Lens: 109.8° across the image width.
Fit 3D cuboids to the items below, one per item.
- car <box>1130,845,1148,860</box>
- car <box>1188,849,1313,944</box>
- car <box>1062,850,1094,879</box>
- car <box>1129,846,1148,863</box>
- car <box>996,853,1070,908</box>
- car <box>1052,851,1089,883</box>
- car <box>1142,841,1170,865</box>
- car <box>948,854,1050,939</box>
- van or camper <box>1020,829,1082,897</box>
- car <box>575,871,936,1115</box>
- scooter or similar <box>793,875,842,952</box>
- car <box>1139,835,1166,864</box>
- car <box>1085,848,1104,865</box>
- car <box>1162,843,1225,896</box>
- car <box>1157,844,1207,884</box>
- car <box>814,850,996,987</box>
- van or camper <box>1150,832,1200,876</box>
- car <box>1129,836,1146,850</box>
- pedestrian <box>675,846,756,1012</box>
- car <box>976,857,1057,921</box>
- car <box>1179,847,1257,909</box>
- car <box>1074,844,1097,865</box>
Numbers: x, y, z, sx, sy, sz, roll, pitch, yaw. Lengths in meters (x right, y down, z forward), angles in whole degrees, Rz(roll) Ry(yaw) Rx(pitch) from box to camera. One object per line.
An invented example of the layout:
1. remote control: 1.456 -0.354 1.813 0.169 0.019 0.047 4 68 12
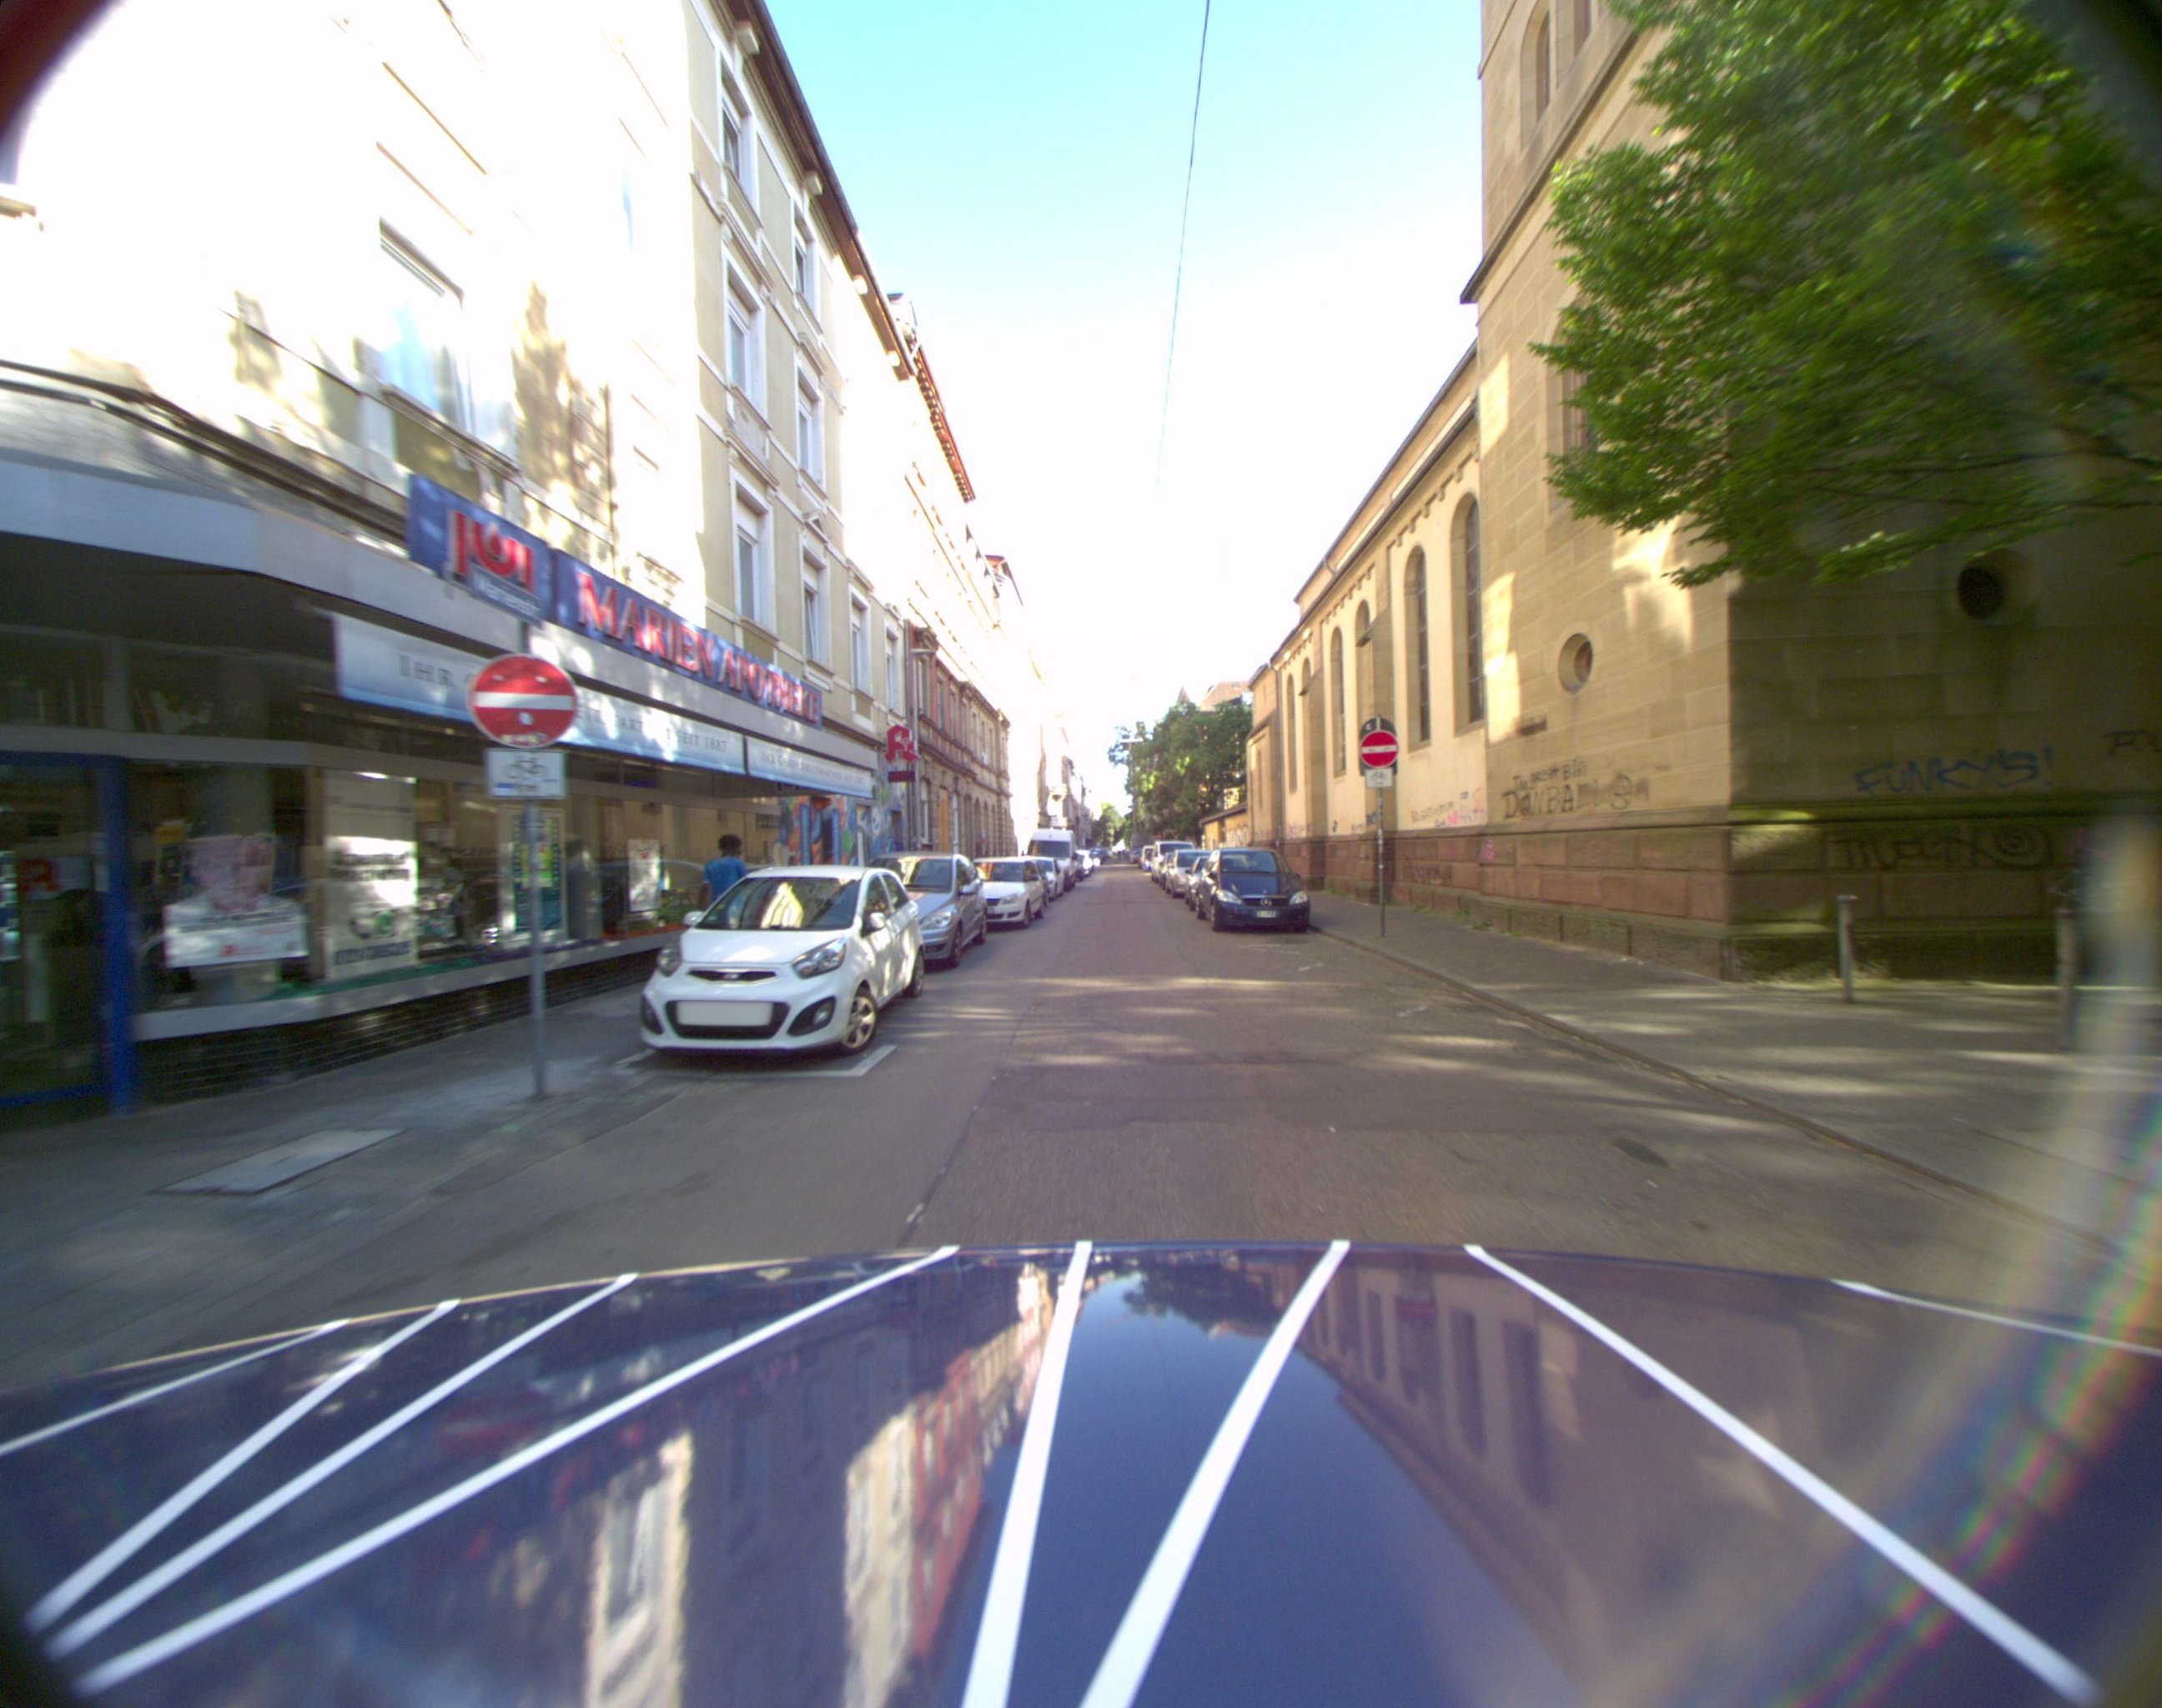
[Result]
1. car: 6.629 -0.146 86.739 1.777 1.614 4.022 -2 1 2
2. car: 3.267 0.748 15.367 1.798 1.543 3.834 -3 1 3
3. car: -0.164 0.629 46.933 1.695 1.615 3.964 -2 1 3
4. car: 6.103 0.035 81.322 1.777 1.614 4.022 -2 1 2
5. car: -1.604 0.867 27.116 1.998 1.637 4.563 -3 1 3
6. car: -0.524 0.696 41.912 1.695 1.615 3.814 -2 1 3
7. car: 5.175 -0.096 52.713 1.695 1.529 3.814 -2 1 3
8. car: -1.707 0.840 17.108 1.558 1.518 4.201 -3 1 3
9. van or camper: -1.170 0.290 32.956 1.998 2.617 5.979 -3 1 3
10. car: -2.572 0.996 7.033 1.693 1.454 3.640 -3 1 0
11. scooter or similar: -4.703 1.041 13.593 0.396 1.272 1.037 -3 1 3
12. car: 5.425 -0.341 58.118 1.776 2.128 4.023 -2 1 3
13. car: 1.422 0.230 78.733 1.695 1.615 3.964 -2 1 3
14. car: 3.727 0.447 25.700 1.724 1.558 4.000 -3 1 4
15. car: 4.070 0.368 31.143 1.695 1.472 3.737 -2 1 3
16. car: -2.506 0.835 11.865 1.704 1.641 4.063 -3 1 2
17. van or camper: 4.457 -0.028 36.577 1.983 1.940 4.563 -2 1 3
18. car: 6.912 -1.296 93.166 1.777 1.614 4.022 -2 1 2
19. pedestrian: -4.297 0.857 8.965 0.563 1.883 0.530 -3 2 2
20. car: -1.751 0.927 21.804 1.590 1.478 3.913 -3 1 5
21. car: 3.531 0.550 20.187 1.576 1.356 4.146 -3 1 4
22. car: 0.404 0.003 63.444 1.695 1.615 3.964 -2 1 3
